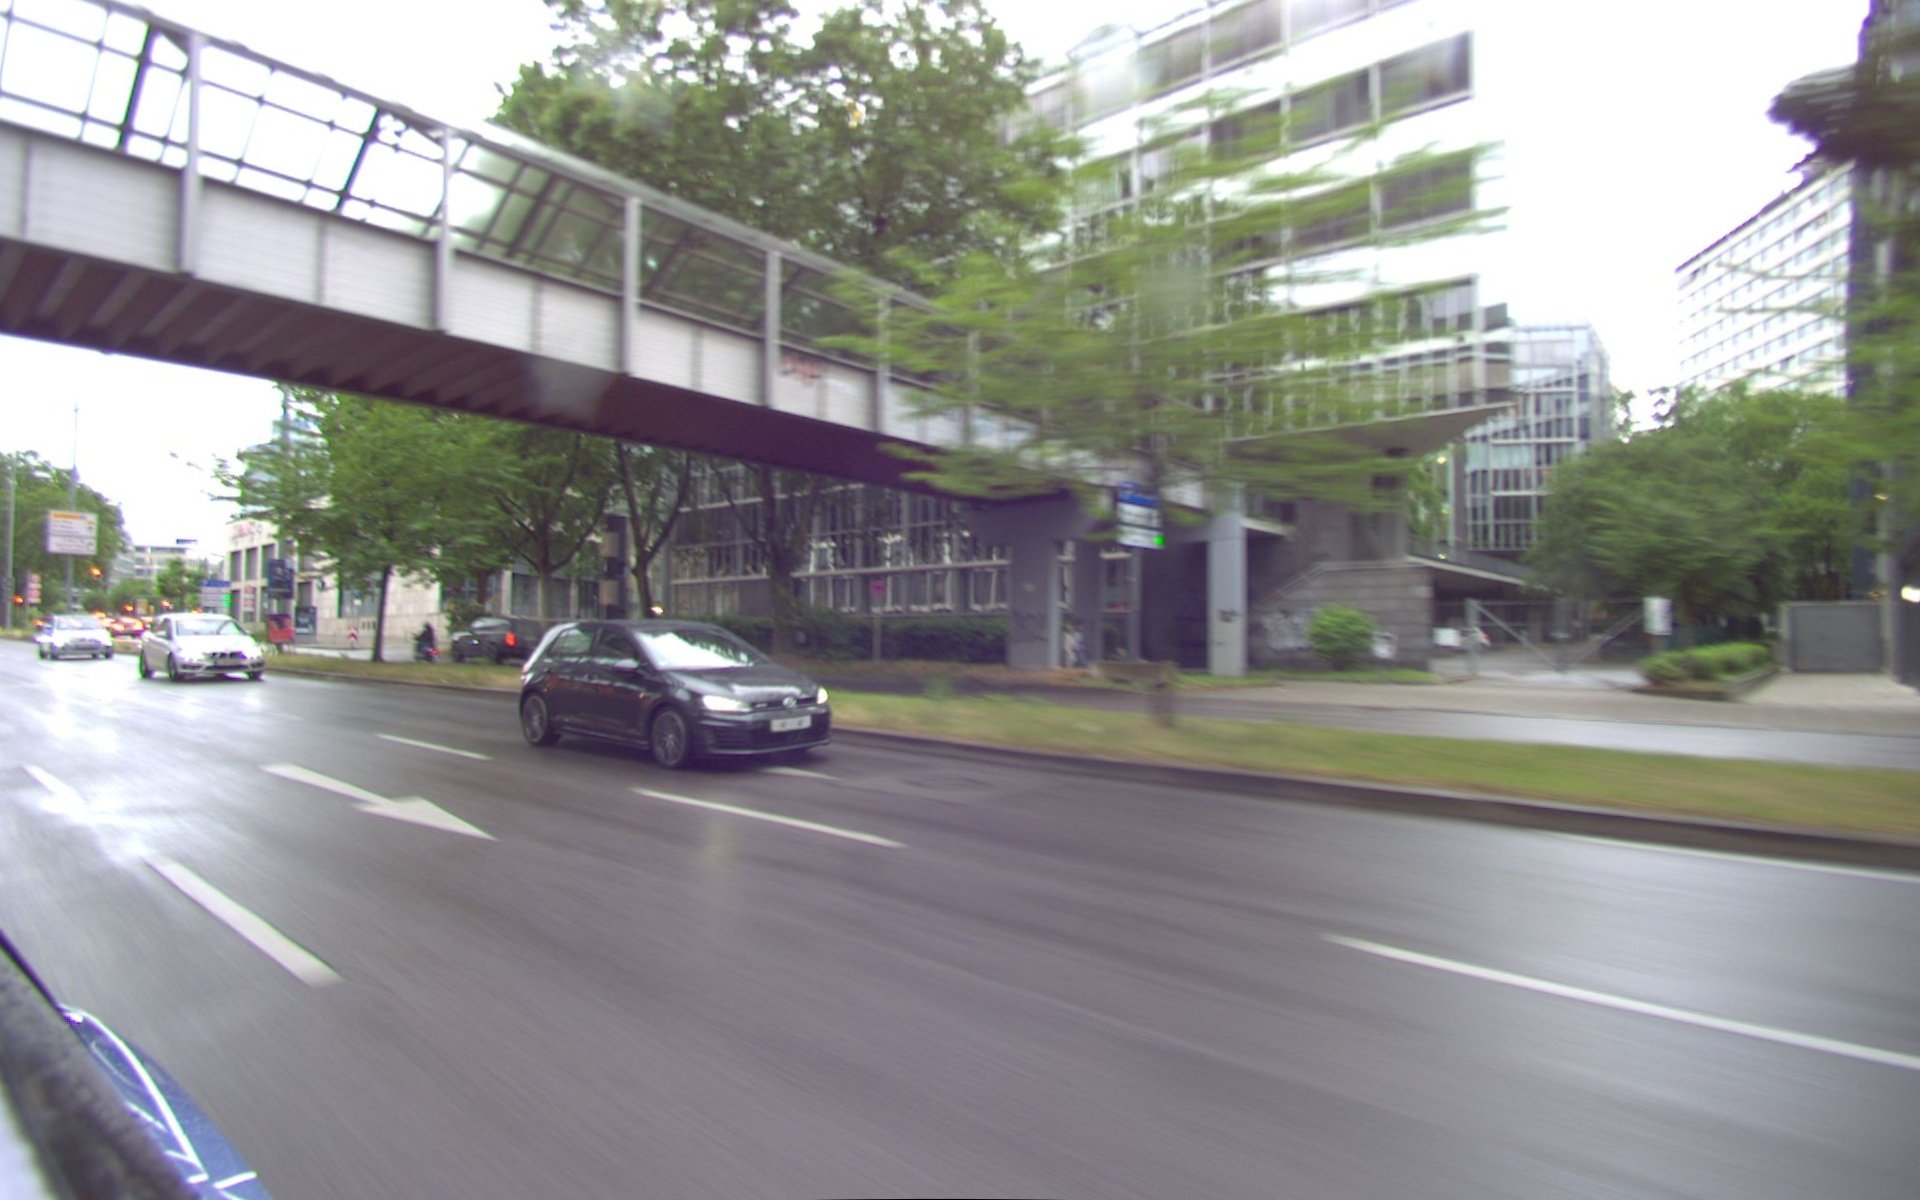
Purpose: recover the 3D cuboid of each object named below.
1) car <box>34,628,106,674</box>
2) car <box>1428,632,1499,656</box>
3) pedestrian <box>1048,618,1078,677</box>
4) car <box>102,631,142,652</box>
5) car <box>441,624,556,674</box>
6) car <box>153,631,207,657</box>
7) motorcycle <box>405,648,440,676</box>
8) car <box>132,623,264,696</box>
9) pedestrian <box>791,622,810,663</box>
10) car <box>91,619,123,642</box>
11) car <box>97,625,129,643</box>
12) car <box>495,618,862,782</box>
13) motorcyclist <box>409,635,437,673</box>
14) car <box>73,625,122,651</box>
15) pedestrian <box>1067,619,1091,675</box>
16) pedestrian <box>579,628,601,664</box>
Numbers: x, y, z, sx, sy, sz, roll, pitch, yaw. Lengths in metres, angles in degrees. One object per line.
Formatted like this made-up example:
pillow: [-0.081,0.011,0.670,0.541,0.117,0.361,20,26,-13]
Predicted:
car: [-31.070,1.725,35.304,3.495,1.452,1.590,-1,0,44]
car: [29.904,2.607,60.162,3.458,1.434,1.607,-1,-2,12]
pedestrian: [3.277,1.506,32.229,0.759,1.821,0.590,-2,-3,41]
car: [-65.153,3.208,78.651,4.757,1.449,1.673,0,-2,41]
car: [-18.364,1.923,40.158,5.180,1.782,1.980,-1,-6,39]
car: [-47.652,2.681,61.781,4.077,1.475,1.645,-1,-4,39]
motorcycle: [-20.405,2.336,38.410,1.804,1.029,0.578,-1,-3,42]
car: [-18.635,1.390,24.698,3.998,1.608,1.758,0,-2,41]
pedestrian: [-6.616,1.762,41.994,0.511,1.699,0.553,-2,-3,41]
car: [-77.652,2.786,92.117,1.809,2.017,5.108,3,-2,-44]
car: [-73.292,2.919,87.579,4.397,1.443,1.707,-1,-2,45]
car: [-3.170,0.951,11.042,4.117,1.463,1.767,-1,-2,38]
motorcyclist: [-20.395,2.039,38.433,0.969,1.429,0.631,-1,-2,41]
car: [-59.467,2.596,69.756,4.678,1.693,1.854,0,-2,41]
pedestrian: [3.869,1.528,32.980,0.511,1.821,0.599,-2,-3,41]
pedestrian: [-18.943,2.359,51.844,0.802,1.821,0.727,-2,-3,41]
